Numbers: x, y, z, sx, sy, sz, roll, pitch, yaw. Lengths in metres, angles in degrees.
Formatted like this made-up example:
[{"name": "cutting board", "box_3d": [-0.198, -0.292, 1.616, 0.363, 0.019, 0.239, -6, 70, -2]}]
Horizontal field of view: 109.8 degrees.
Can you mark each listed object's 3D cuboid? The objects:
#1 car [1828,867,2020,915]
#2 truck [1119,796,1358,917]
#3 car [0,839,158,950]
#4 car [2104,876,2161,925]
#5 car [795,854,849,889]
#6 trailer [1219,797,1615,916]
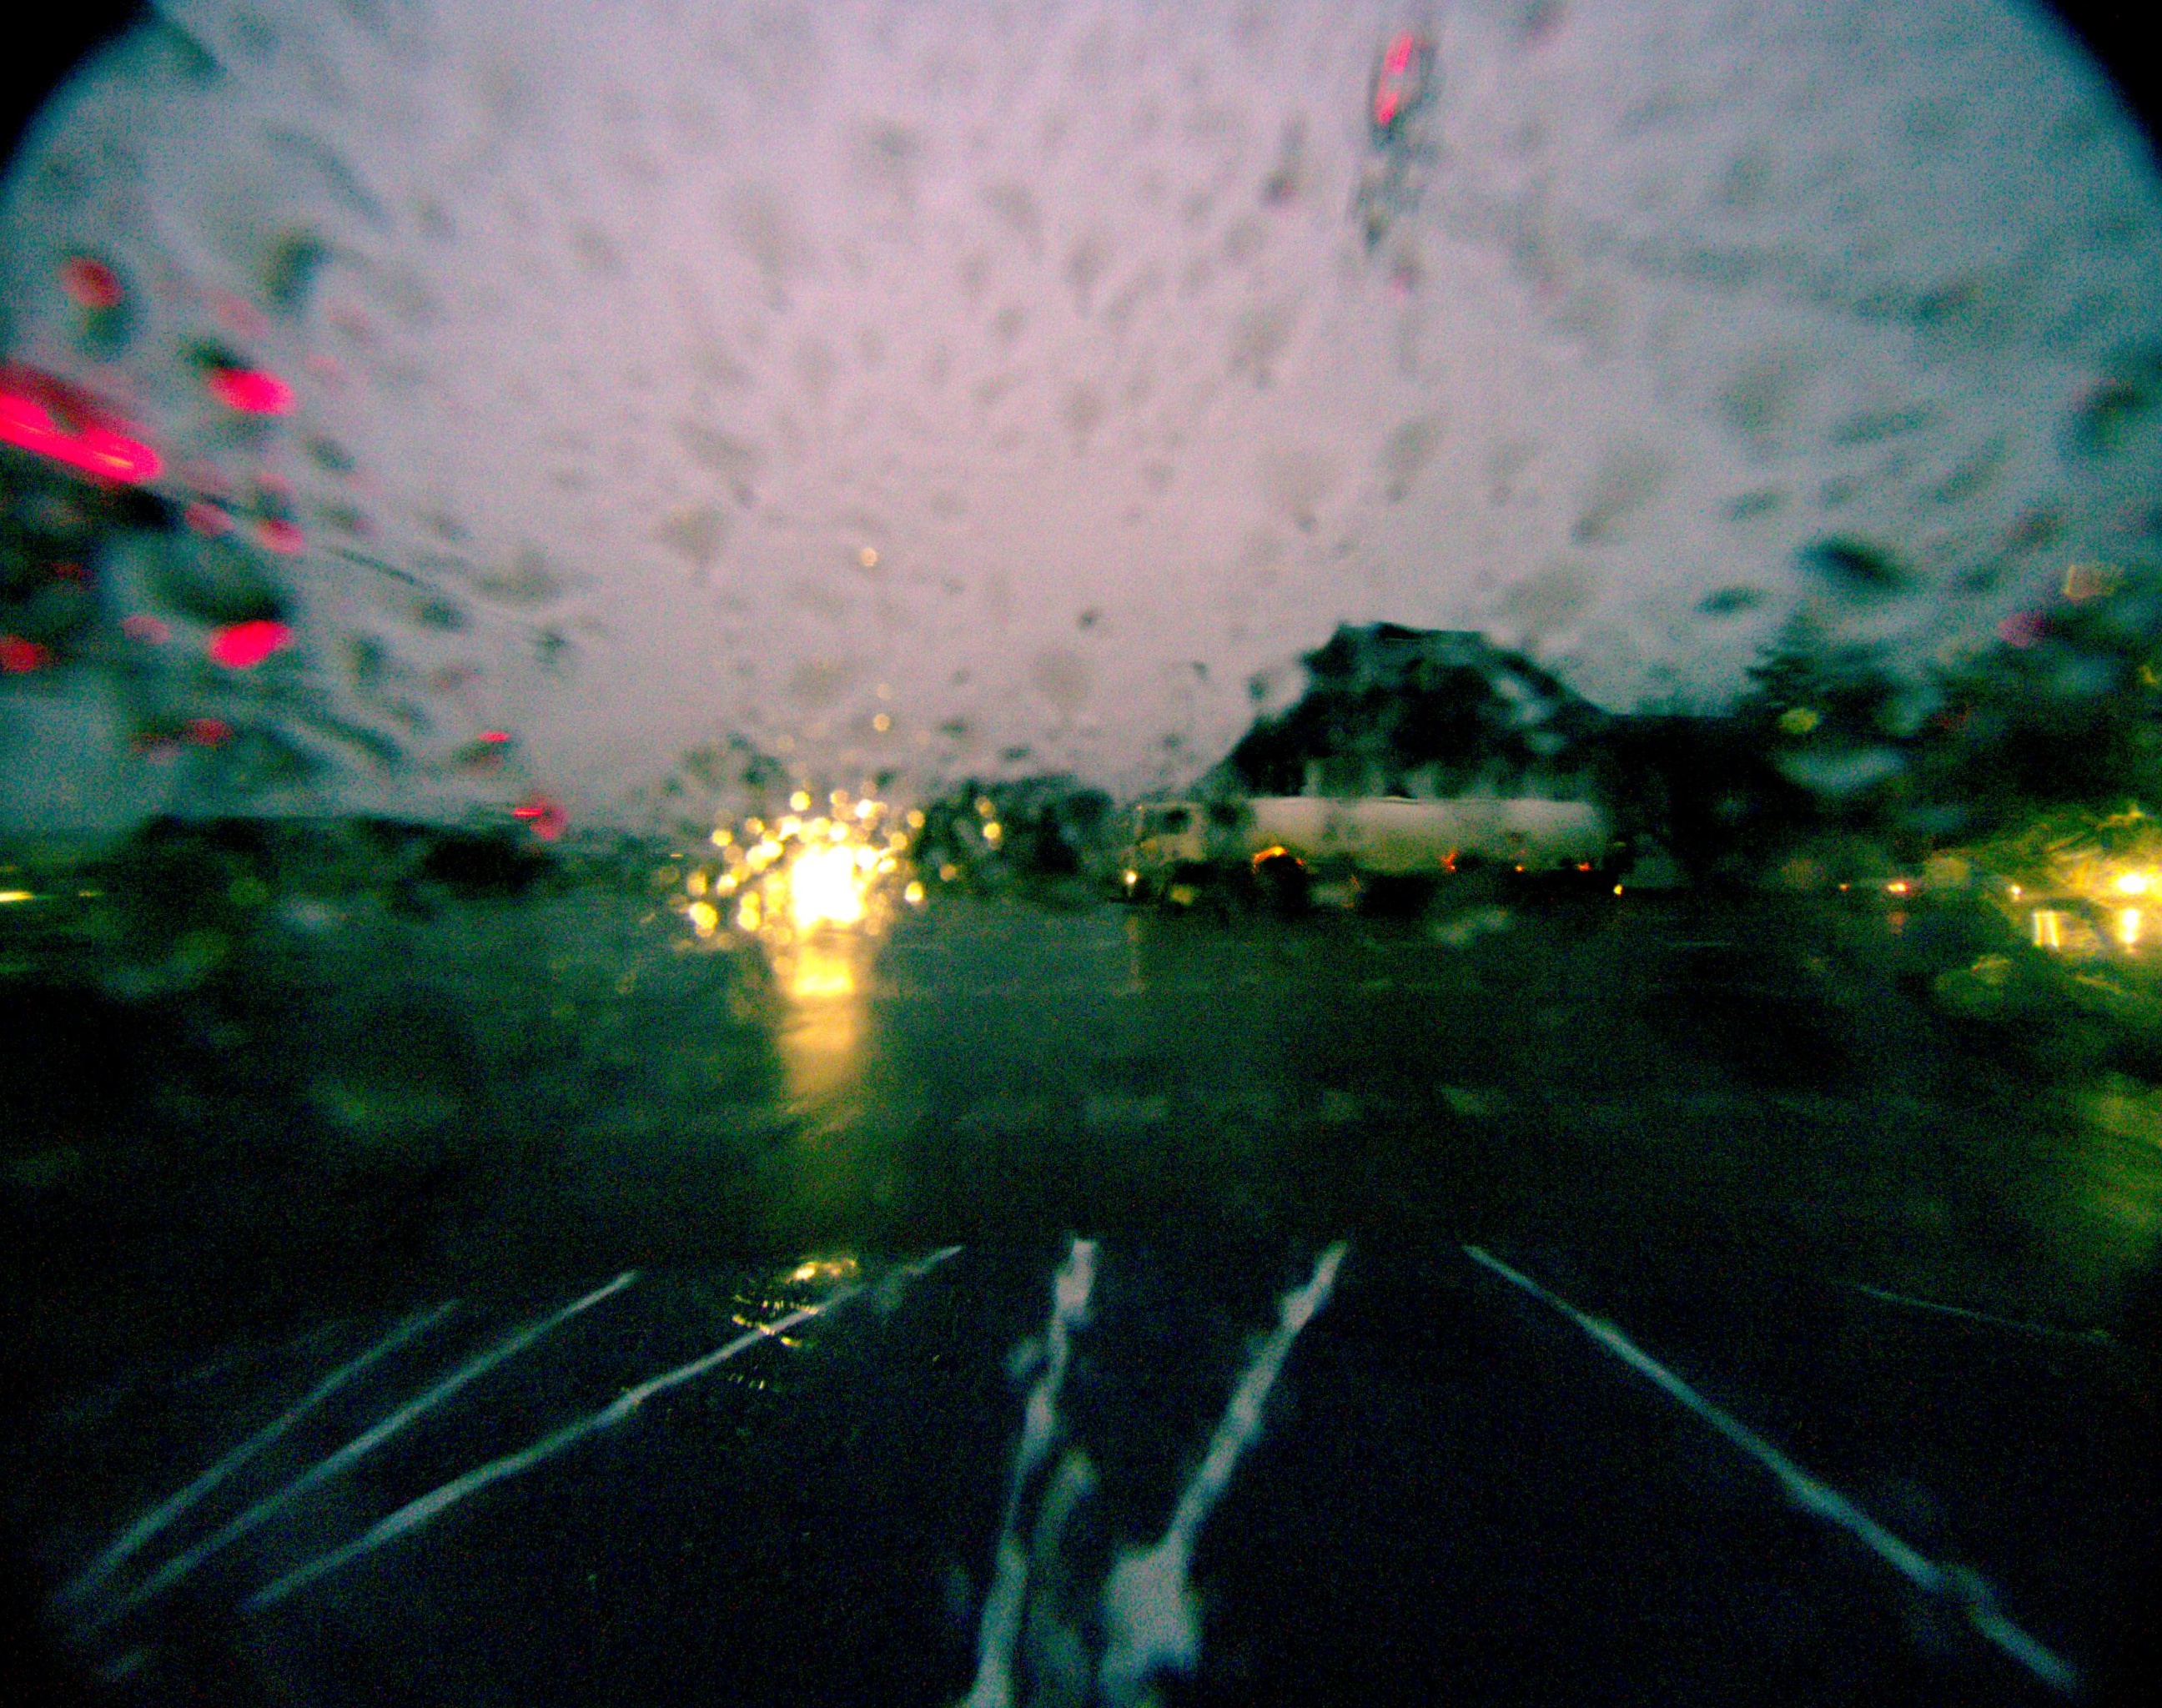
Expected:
[{"name": "car", "box_3d": [25.857, 1.110, 23.378, 4.380, 1.430, 1.667, 0, -1, -6]}, {"name": "truck", "box_3d": [4.374, 0.096, 21.775, 6.271, 3.210, 2.469, 0, -1, -6]}, {"name": "car", "box_3d": [-18.972, 0.622, 12.897, 3.998, 1.737, 1.999, 0, 1, -2]}, {"name": "car", "box_3d": [36.765, 1.513, 24.881, 4.502, 1.559, 1.842, 0, -1, -6]}, {"name": "car", "box_3d": [-13.257, 0.864, 38.826, 1.821, 1.679, 3.907, 1, -1, -31]}, {"name": "trailer", "box_3d": [9.699, 0.095, 22.329, 10.866, 3.221, 2.495, 0, -1, -6]}]
